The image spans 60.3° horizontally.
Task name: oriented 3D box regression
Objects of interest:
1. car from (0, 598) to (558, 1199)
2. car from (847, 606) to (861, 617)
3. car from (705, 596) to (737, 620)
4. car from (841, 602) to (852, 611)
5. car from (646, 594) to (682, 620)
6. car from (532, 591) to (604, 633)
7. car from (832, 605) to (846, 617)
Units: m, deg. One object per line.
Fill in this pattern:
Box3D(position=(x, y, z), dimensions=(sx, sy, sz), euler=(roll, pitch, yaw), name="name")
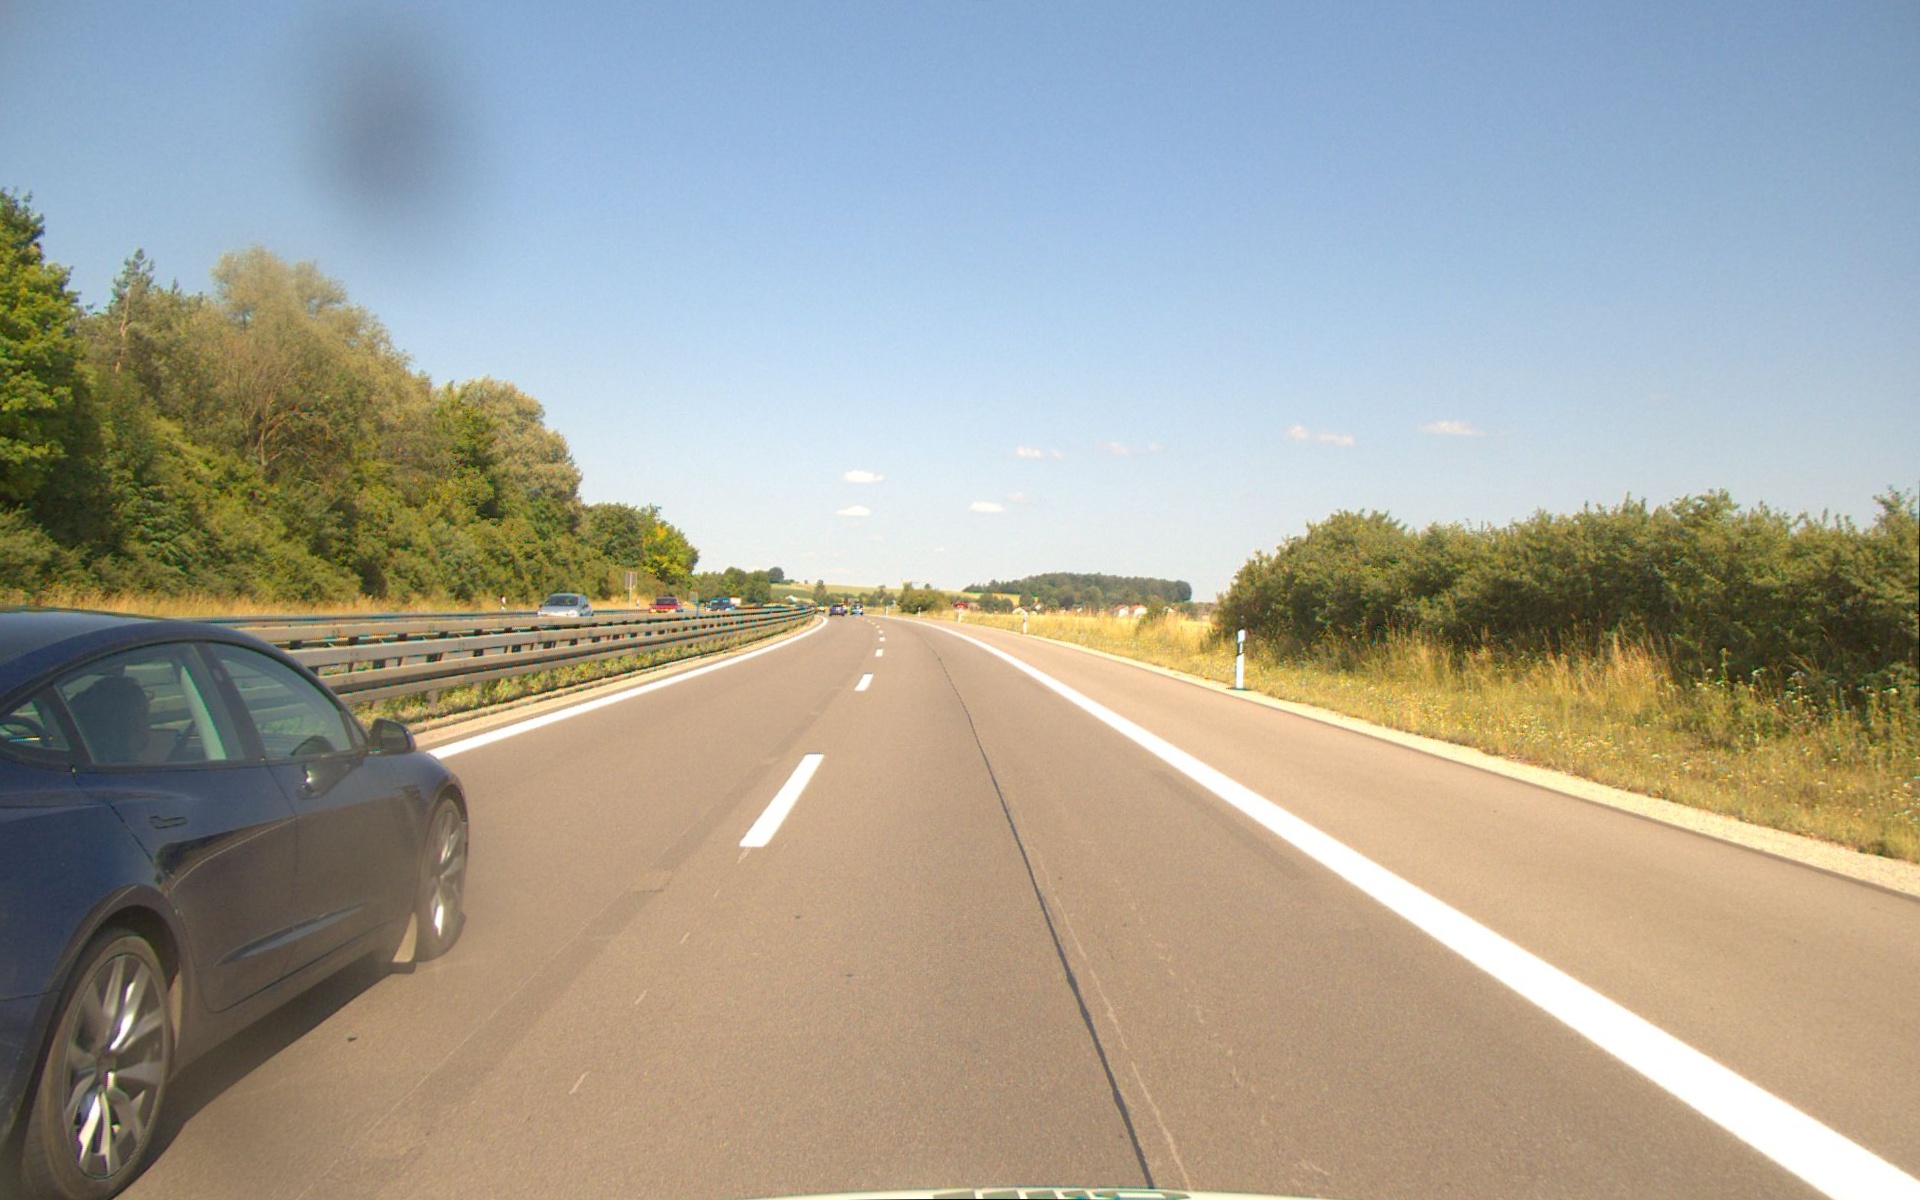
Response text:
Box3D(position=(-2.917, 0.729, 5.647), dimensions=(1.810, 1.458, 5.863), euler=(0, 0, -2), name="car")
Box3D(position=(-13.860, 1.476, 215.450), dimensions=(1.644, 1.479, 3.587), euler=(1, 0, -6), name="car")
Box3D(position=(-15.442, 0.495, 107.015), dimensions=(1.616, 1.519, 4.537), euler=(1, 0, -3), name="car")
Box3D(position=(-17.720, 1.035, 257.899), dimensions=(1.643, 1.479, 3.588), euler=(1, 0, -5), name="car")
Box3D(position=(-18.362, 0.422, 102.648), dimensions=(1.616, 1.519, 4.537), euler=(1, 0, -3), name="car")
Box3D(position=(-16.131, 0.482, 68.257), dimensions=(1.953, 1.640, 4.635), euler=(1, 0, -1), name="car")
Box3D(position=(-14.496, 1.332, 197.863), dimensions=(1.643, 1.479, 3.589), euler=(1, 0, -3), name="car")
